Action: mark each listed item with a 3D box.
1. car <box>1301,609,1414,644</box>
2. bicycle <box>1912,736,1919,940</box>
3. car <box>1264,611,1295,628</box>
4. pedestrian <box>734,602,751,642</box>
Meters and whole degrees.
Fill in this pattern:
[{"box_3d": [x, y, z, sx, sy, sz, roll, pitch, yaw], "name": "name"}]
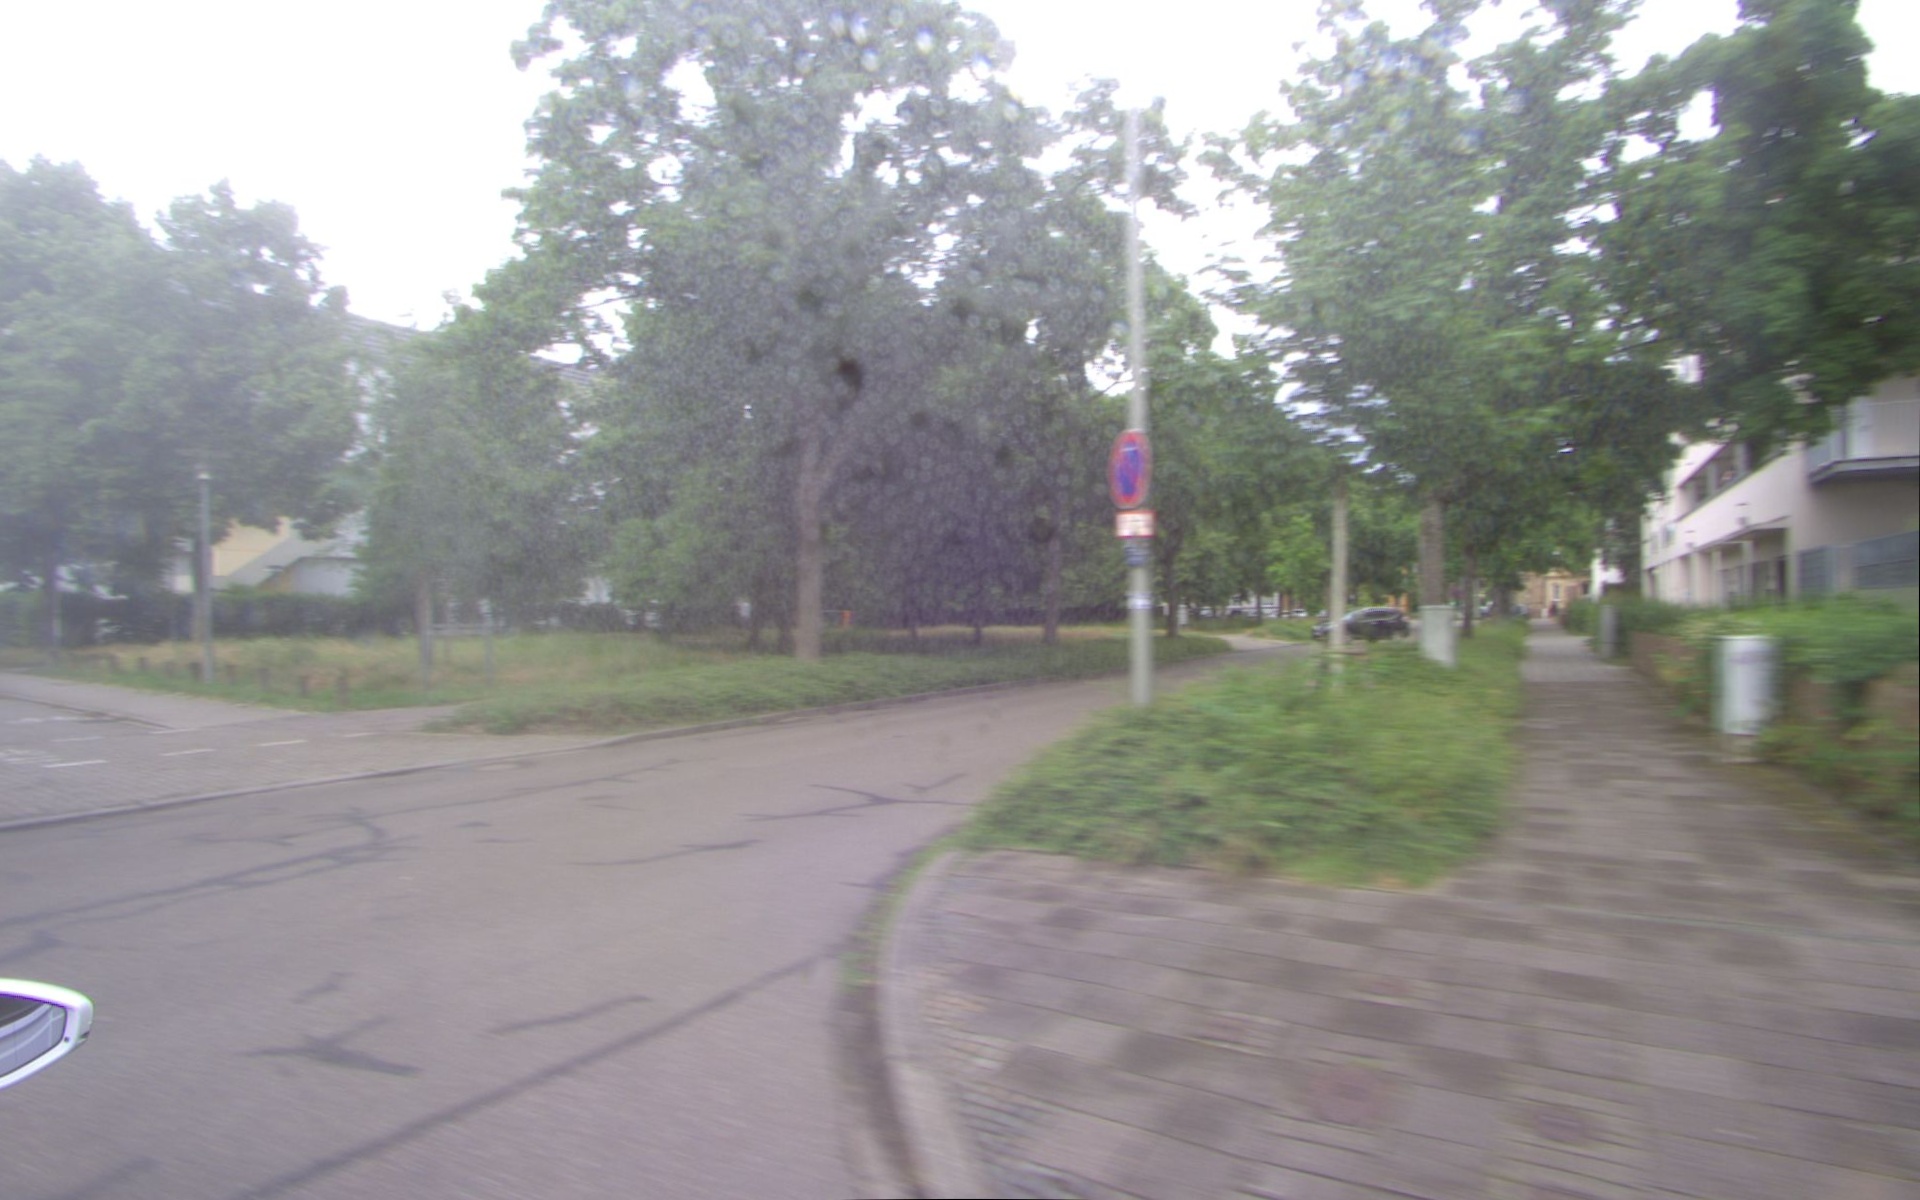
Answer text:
[{"box_3d": [18.111, 1.178, 45.649, 4.457, 1.505, 1.998, 0, 0, -13], "name": "car"}, {"box_3d": [3.234, 0.840, 1.972, 1.863, 1.017, 0.566, -3, 0, 33], "name": "bicycle"}, {"box_3d": [38.102, 2.311, 119.425, 3.258, 1.949, 1.807, -2, -1, 23], "name": "car"}, {"box_3d": [-9.976, 0.989, 45.994, 0.538, 1.822, 0.568, 1, 1, 43], "name": "pedestrian"}]
